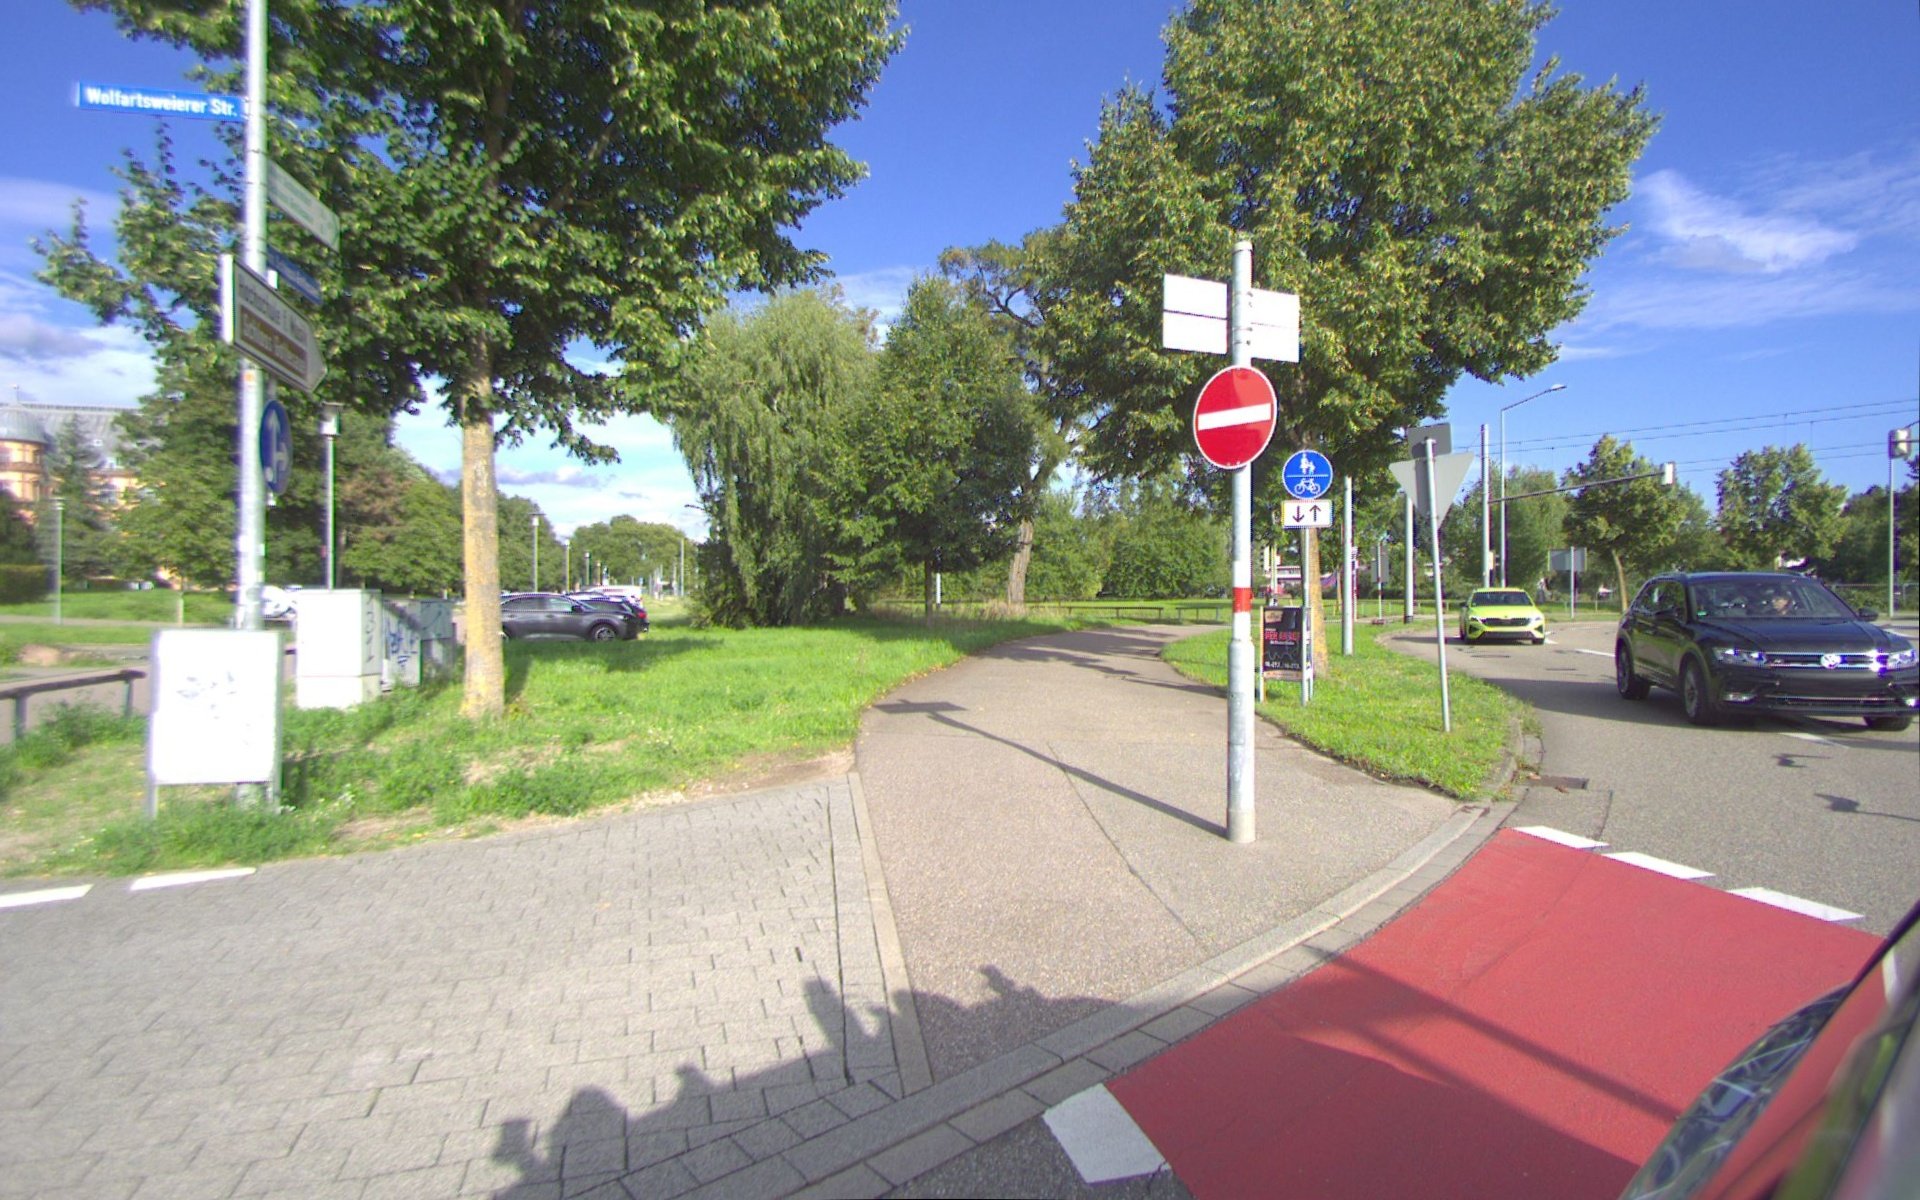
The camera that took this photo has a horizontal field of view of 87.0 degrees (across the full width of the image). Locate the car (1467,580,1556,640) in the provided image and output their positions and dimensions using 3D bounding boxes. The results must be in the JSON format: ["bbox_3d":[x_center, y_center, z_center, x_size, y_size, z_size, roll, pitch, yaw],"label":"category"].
[{"bbox_3d":[14.478,0.254,26.735,1.879,1.438,4.564,-1,0,27],"label":"car"}]

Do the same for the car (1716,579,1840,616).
[{"bbox_3d":[38.324,-0.138,47.443,4.703,1.683,2.004,-1,0,-12],"label":"car"}]

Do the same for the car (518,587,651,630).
[{"bbox_3d":[-14.255,0.303,38.726,4.634,1.534,1.865,-1,1,-16],"label":"car"}]

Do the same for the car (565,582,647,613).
[{"bbox_3d":[-24.049,-0.213,68.924,5.006,2.032,2.322,-1,1,-13],"label":"car"}]

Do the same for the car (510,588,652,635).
[{"bbox_3d":[-13.448,0.376,36.213,4.634,1.534,1.865,-1,1,-16],"label":"car"}]

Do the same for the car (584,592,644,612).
[{"bbox_3d":[-27.624,0.113,80.889,4.375,1.523,1.865,-1,1,-13],"label":"car"}]

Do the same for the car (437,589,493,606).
[{"bbox_3d":[-40.750,-0.216,83.351,3.916,1.352,1.784,-1,1,-18],"label":"car"}]

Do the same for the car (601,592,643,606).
[{"bbox_3d":[-39.969,-0.132,119.785,4.379,1.560,1.862,-1,1,-6],"label":"car"}]

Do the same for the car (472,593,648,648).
[{"bbox_3d":[-11.006,0.533,28.179,4.420,1.398,1.865,-1,1,-16],"label":"car"}]

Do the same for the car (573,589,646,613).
[{"bbox_3d":[-22.964,0.040,66.333,4.376,1.534,1.864,-1,1,-24],"label":"car"}]

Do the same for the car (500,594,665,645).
[{"bbox_3d":[-11.552,0.563,31.291,4.634,1.458,1.865,-1,1,-16],"label":"car"}]

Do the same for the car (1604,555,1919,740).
[{"bbox_3d":[9.260,0.399,11.904,1.850,1.716,4.981,0,1,21],"label":"car"}]

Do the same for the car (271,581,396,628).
[{"bbox_3d":[-29.848,0.204,48.347,4.710,2.039,1.881,-2,-1,-14],"label":"car"}]

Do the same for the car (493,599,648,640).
[{"bbox_3d":[-12.754,0.611,33.422,4.634,1.223,1.865,-1,1,-16],"label":"car"}]

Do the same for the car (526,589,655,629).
[{"bbox_3d":[-14.794,0.332,40.779,4.761,1.534,1.865,-1,1,-16],"label":"car"}]

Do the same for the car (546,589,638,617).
[{"bbox_3d":[-19.036,0.147,52.570,4.375,1.380,1.865,-1,1,-16],"label":"car"}]

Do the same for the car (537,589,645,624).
[{"bbox_3d":[-17.202,0.295,47.435,4.648,1.534,1.865,-1,1,-16],"label":"car"}]

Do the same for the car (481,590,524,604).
[{"bbox_3d":[-48.106,-0.338,106.489,3.916,1.352,1.784,-1,1,-18],"label":"car"}]

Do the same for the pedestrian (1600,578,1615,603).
[{"bbox_3d":[46.089,-0.707,72.059,0.653,1.754,0.598,-1,0,-19],"label":"pedestrian"}]

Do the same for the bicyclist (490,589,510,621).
[{"bbox_3d":[-23.311,0.262,51.283,0.756,1.594,0.962,-1,1,-17],"label":"bicyclist"}]

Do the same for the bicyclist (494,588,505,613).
[{"bbox_3d":[-23.369,0.020,51.360,0.443,1.260,0.852,-1,0,-18],"label":"bicyclist"}]

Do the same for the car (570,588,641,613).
[{"bbox_3d":[-25.119,0.002,71.832,4.377,1.695,2.106,-1,1,-8],"label":"car"}]
